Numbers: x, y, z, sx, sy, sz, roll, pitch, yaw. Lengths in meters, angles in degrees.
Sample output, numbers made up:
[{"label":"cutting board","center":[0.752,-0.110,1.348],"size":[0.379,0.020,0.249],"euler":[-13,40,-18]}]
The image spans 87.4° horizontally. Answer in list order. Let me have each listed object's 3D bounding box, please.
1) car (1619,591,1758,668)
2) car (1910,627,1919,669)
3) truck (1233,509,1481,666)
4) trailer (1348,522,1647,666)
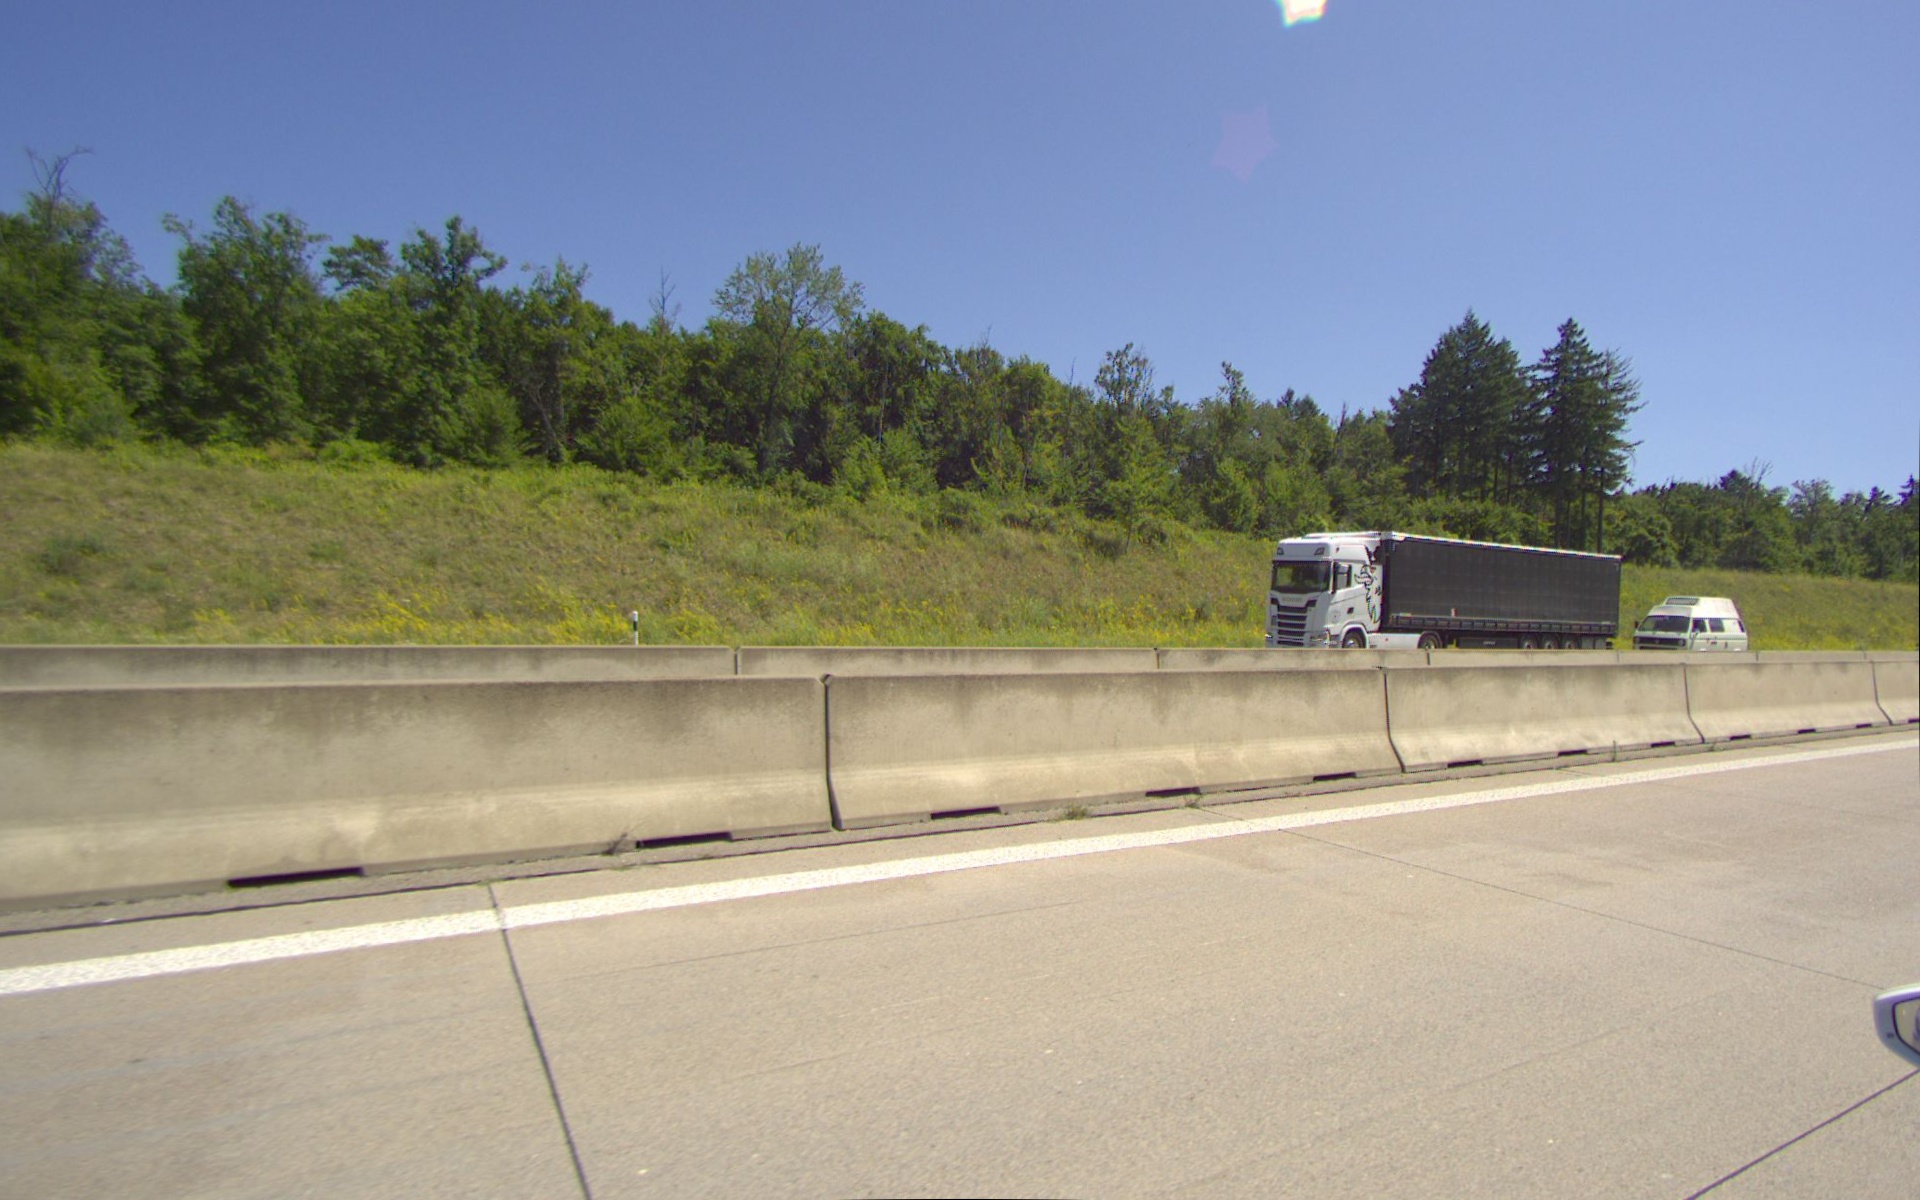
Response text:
[{"label":"car","center":[25.420,1.023,34.990],"size":[5.117,2.519,1.984],"euler":[1,0,-30]},{"label":"car","center":[38.932,1.877,38.961],"size":[3.994,1.604,1.984],"euler":[2,-1,-30]},{"label":"truck","center":[12.993,-0.238,32.671],"size":[7.891,4.564,3.241],"euler":[2,-1,-30]},{"label":"trailer","center":[19.908,0.014,36.682],"size":[12.965,4.564,3.241],"euler":[2,-1,-30]}]
